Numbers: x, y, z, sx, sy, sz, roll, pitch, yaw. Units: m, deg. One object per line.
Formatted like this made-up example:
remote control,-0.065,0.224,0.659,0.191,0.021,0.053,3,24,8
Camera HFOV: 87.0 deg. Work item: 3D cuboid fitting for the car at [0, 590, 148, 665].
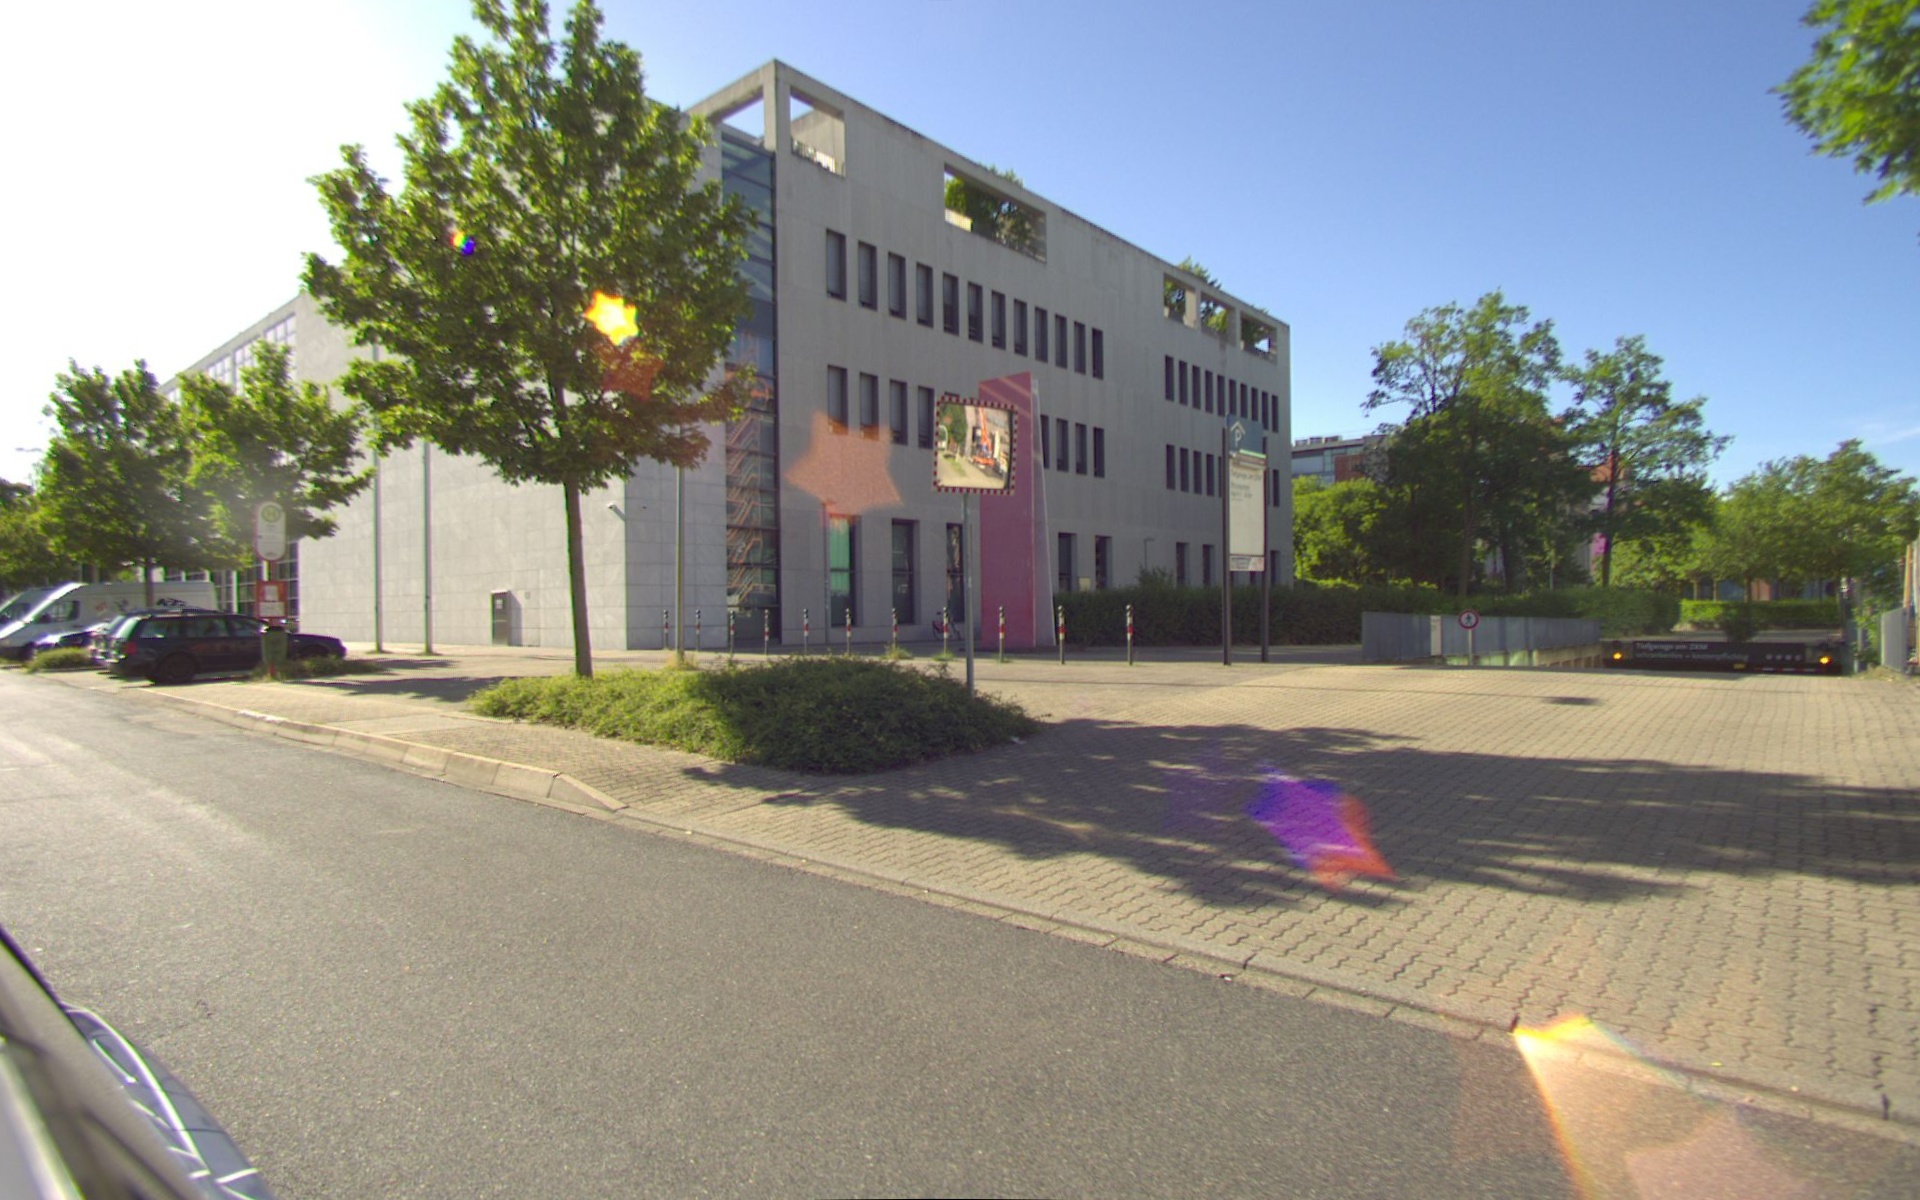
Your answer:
car,-35.795,1.071,39.967,2.010,2.657,5.510,-1,2,43

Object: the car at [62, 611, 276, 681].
car,-21.171,1.175,27.232,1.692,1.525,4.261,-1,2,40

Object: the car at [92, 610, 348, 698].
car,-16.242,1.110,22.398,1.717,1.525,4.261,-1,2,40

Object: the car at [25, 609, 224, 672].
car,-24.546,1.134,29.850,1.692,1.525,4.261,-1,2,40

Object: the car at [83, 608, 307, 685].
car,-19.361,1.113,25.775,1.692,1.595,4.261,-1,2,40

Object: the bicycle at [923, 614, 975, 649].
bicycle,-0.378,1.138,37.037,0.716,1.219,2.235,-1,-1,35

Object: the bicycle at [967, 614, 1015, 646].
bicycle,1.212,1.137,39.228,0.716,1.219,2.235,-1,-1,35

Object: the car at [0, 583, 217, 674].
car,-27.122,0.818,31.997,2.010,2.501,5.510,-1,2,43
